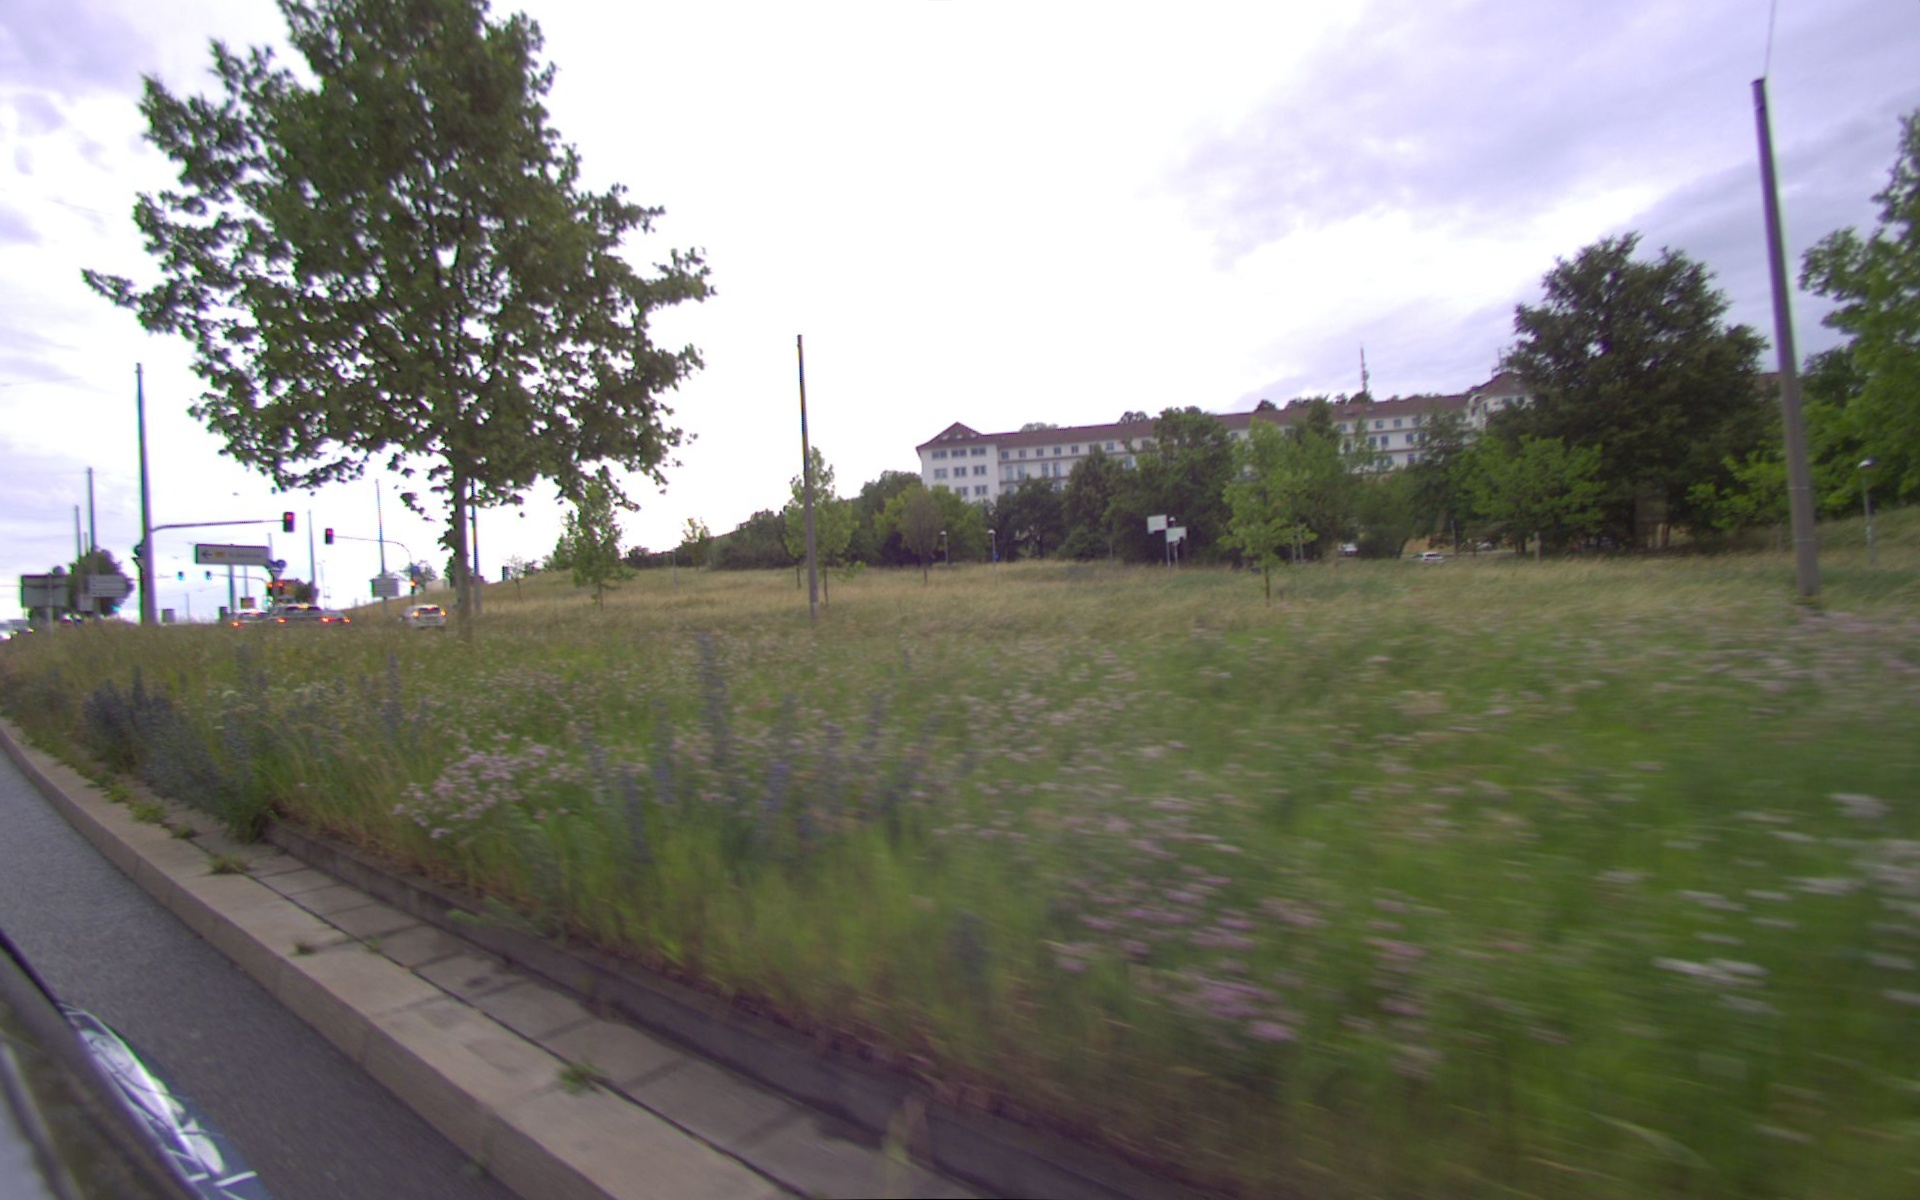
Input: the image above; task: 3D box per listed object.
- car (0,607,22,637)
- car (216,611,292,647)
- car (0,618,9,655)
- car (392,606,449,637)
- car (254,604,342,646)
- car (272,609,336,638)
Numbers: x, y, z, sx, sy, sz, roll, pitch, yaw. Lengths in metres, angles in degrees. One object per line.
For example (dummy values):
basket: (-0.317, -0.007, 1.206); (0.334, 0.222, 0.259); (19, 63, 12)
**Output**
car: (-59.563, 1.355, 62.753); (1.970, 1.785, 4.004); (-3, 1, -43)
car: (-31.458, 1.281, 45.034); (4.439, 1.433, 1.939); (-2, 1, 44)
car: (-50.193, 1.898, 51.877); (1.970, 1.785, 4.002); (2, -5, -44)
car: (-30.663, 1.218, 57.466); (1.968, 1.656, 4.807); (-3, 1, -39)
car: (-26.381, 0.998, 40.255); (4.439, 1.523, 1.971); (-2, 1, 44)
car: (-32.088, 1.151, 49.490); (4.019, 1.316, 1.782); (-2, -1, 44)
